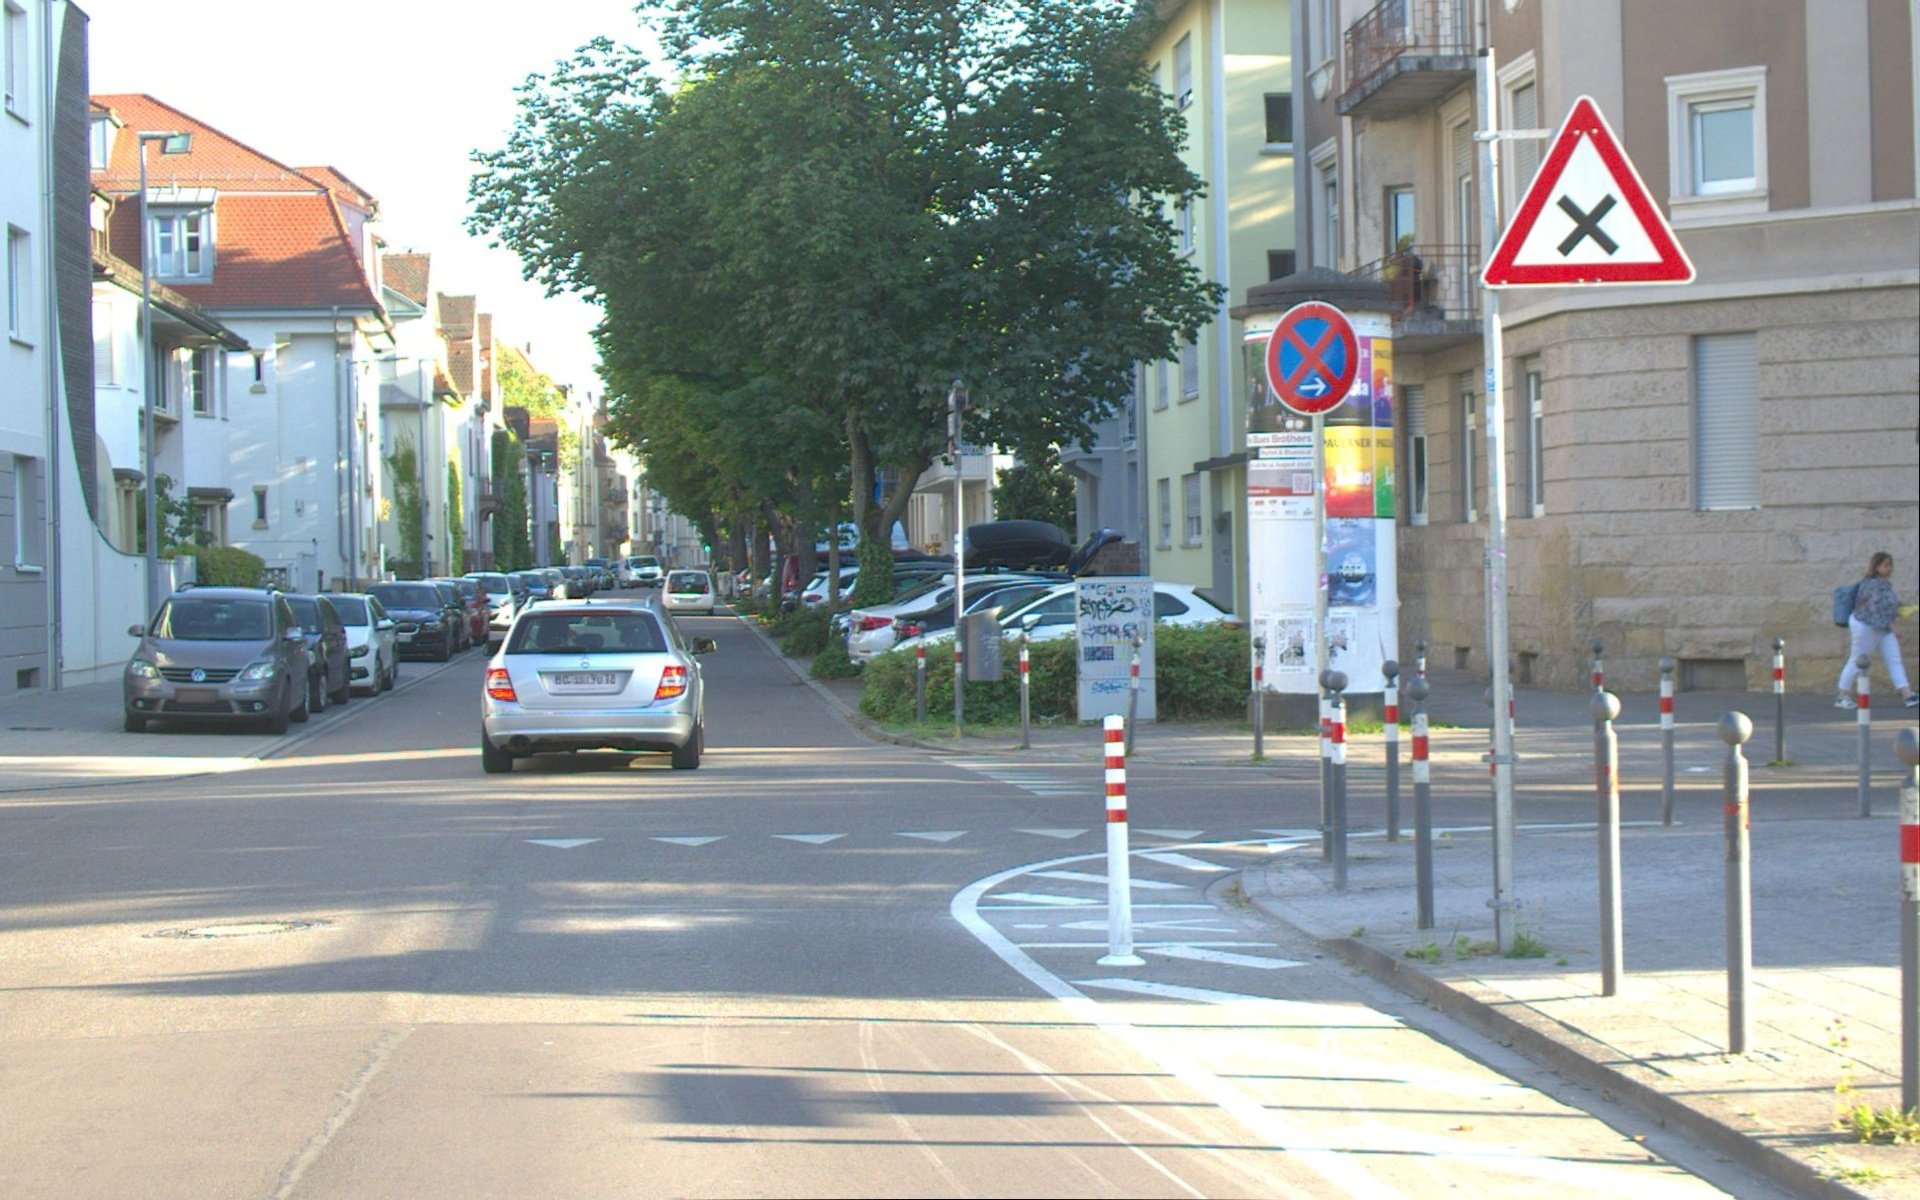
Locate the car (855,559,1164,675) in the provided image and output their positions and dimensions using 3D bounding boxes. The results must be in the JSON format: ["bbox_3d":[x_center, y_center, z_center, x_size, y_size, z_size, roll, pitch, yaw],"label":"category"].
[{"bbox_3d":[0.730,0.248,52.826,4.525,1.635,1.874,-2,0,-5],"label":"car"}]

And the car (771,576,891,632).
[{"bbox_3d":[-4.017,0.116,106.877,3.594,1.654,1.650,-1,1,-6],"label":"car"}]

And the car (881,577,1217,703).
[{"bbox_3d":[1.121,0.500,44.605,4.142,1.443,1.673,-2,0,-5],"label":"car"}]

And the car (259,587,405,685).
[{"bbox_3d":[-9.663,0.533,53.132,1.758,1.442,4.142,-1,0,-4],"label":"car"}]

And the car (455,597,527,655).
[{"bbox_3d":[-12.519,0.671,91.922,1.659,1.494,3.754,-1,0,-4],"label":"car"}]

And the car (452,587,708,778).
[{"bbox_3d":[-3.153,0.660,29.221,1.817,1.468,4.216,-1,0,-2],"label":"car"}]

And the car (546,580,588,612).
[{"bbox_3d":[-18.158,-0.199,158.917,1.799,1.382,3.607,-1,1,-5],"label":"car"}]

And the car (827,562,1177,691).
[{"bbox_3d":[0.552,0.335,47.231,4.475,1.520,1.954,-2,2,-10],"label":"car"}]

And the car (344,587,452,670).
[{"bbox_3d":[-10.628,0.513,65.208,1.854,1.492,4.656,-1,0,-7],"label":"car"}]

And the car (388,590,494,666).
[{"bbox_3d":[-10.615,0.557,70.555,1.783,1.492,4.700,-1,0,-4],"label":"car"}]

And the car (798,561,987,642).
[{"bbox_3d":[-1.404,0.022,70.462,3.730,1.553,1.725,-2,0,-5],"label":"car"}]

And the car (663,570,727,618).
[{"bbox_3d":[-8.358,-0.169,108.621,1.817,1.468,4.216,-1,0,-2],"label":"car"}]

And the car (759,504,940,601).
[{"bbox_3d":[-3.544,-1.514,109.861,5.541,2.958,2.472,-1,1,-7],"label":"car"}]

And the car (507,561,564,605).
[{"bbox_3d":[-14.708,-0.617,119.255,1.799,1.477,3.858,-1,1,-5],"label":"car"}]

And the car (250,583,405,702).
[{"bbox_3d":[-8.898,0.561,48.603,1.884,1.585,4.091,-1,0,-7],"label":"car"}]

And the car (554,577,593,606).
[{"bbox_3d":[-19.152,-0.442,170.404,1.799,1.382,3.607,-1,1,-5],"label":"car"}]

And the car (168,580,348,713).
[{"bbox_3d":[-8.871,0.548,43.719,1.884,1.585,4.091,-1,0,-7],"label":"car"}]

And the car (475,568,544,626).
[{"bbox_3d":[-13.212,-0.108,101.025,1.799,1.639,3.858,0,1,-5],"label":"car"}]

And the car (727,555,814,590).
[{"bbox_3d":[-8.423,-1.219,152.725,3.844,1.477,1.805,-1,1,-3],"label":"car"}]

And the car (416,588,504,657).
[{"bbox_3d":[-11.182,0.488,77.032,1.659,1.483,3.754,-1,0,-4],"label":"car"}]

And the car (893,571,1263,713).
[{"bbox_3d":[1.328,0.463,39.832,4.047,1.500,1.862,-2,0,-5],"label":"car"}]

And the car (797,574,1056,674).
[{"bbox_3d":[-0.588,0.388,58.021,4.189,1.553,1.874,-2,0,-5],"label":"car"}]

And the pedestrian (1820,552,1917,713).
[{"bbox_3d":[8.977,0.312,33.985,0.819,1.540,0.742,-3,0,12],"label":"pedestrian"}]

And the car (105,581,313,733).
[{"bbox_3d":[-8.389,0.594,38.707,1.884,1.585,4.091,-1,0,-7],"label":"car"}]

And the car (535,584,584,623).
[{"bbox_3d":[-15.773,0.117,135.529,1.799,1.477,3.858,-1,1,-5],"label":"car"}]

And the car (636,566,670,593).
[{"bbox_3d":[-17.712,-1.165,198.201,1.529,1.469,4.271,-1,-1,1],"label":"car"}]

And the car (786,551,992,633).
[{"bbox_3d":[-1.649,-0.183,79.013,4.625,1.830,1.954,0,1,-4],"label":"car"}]
